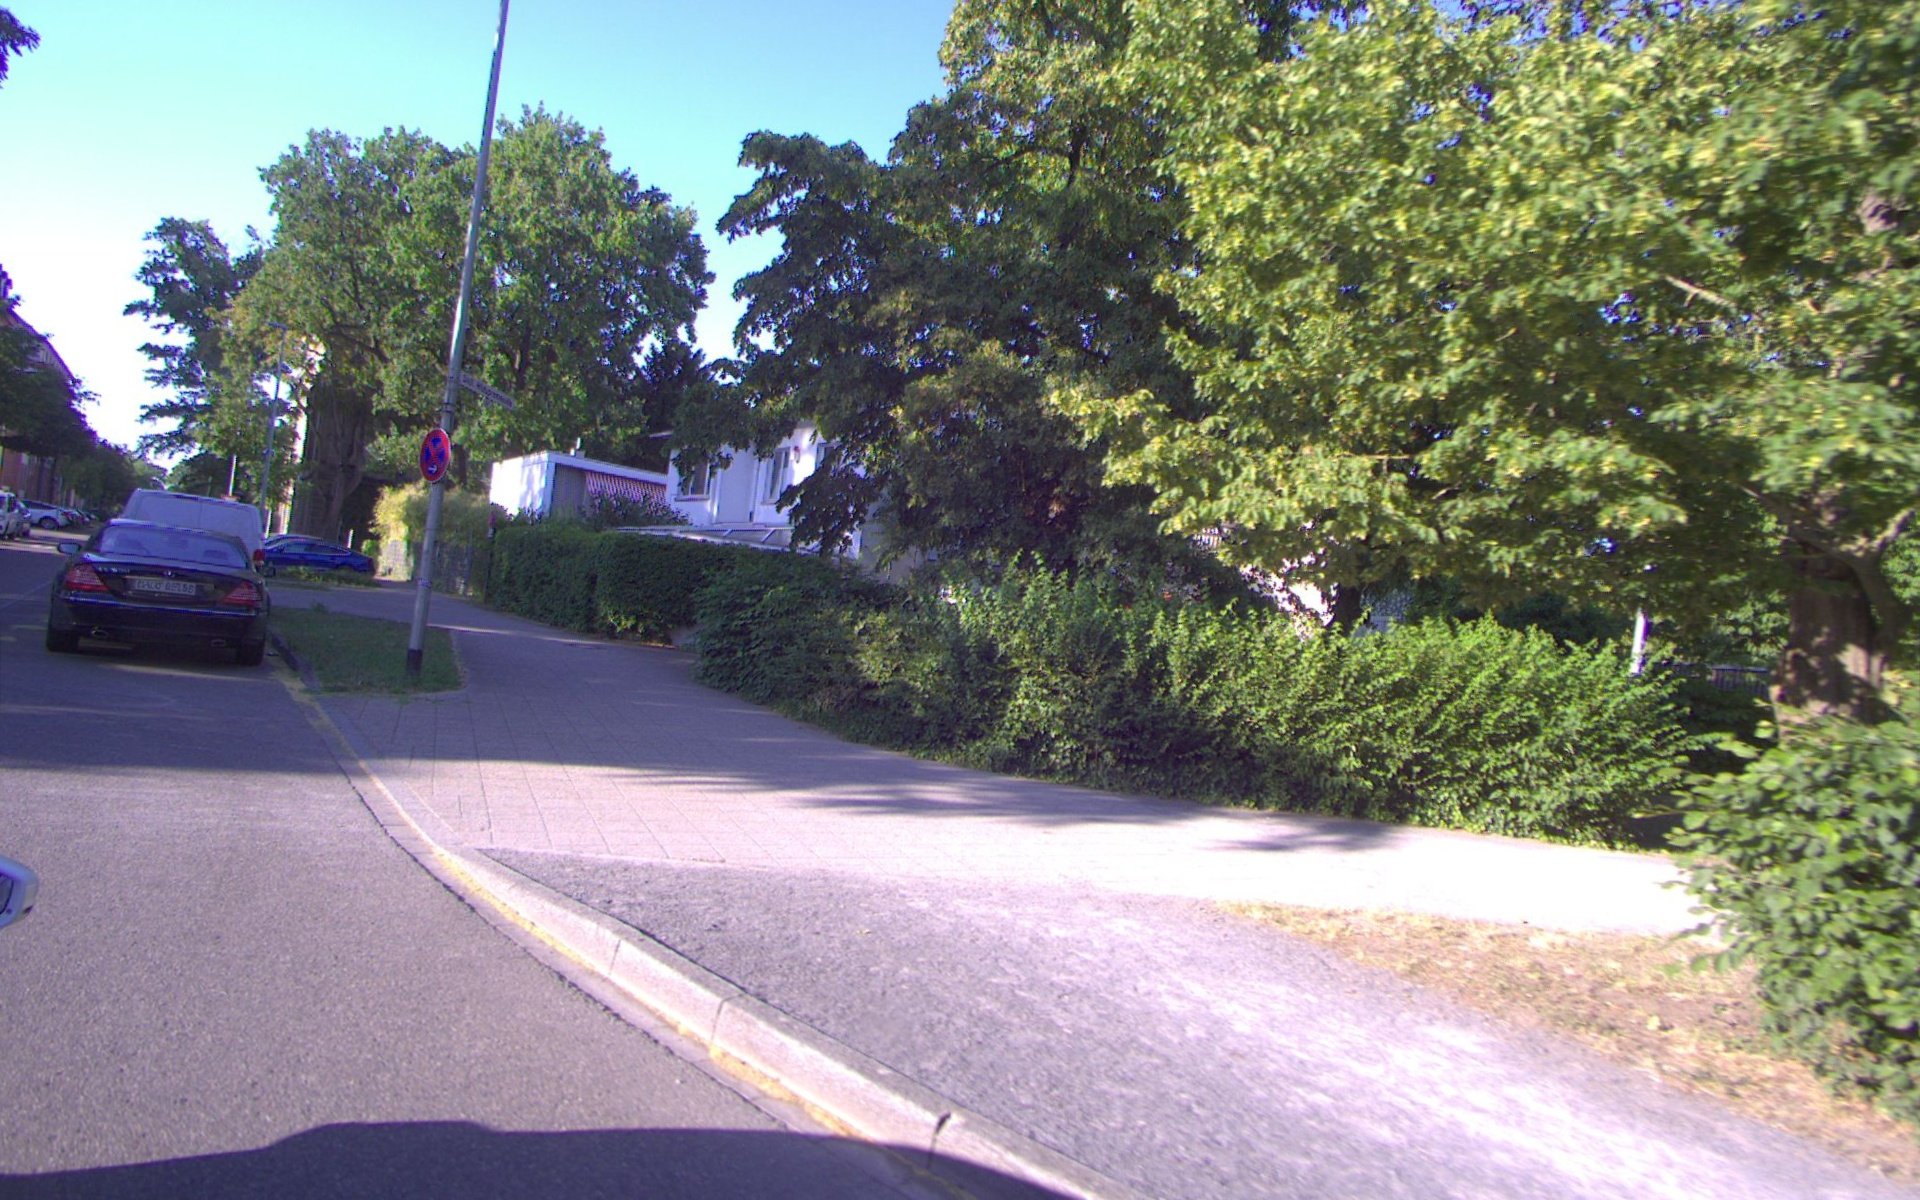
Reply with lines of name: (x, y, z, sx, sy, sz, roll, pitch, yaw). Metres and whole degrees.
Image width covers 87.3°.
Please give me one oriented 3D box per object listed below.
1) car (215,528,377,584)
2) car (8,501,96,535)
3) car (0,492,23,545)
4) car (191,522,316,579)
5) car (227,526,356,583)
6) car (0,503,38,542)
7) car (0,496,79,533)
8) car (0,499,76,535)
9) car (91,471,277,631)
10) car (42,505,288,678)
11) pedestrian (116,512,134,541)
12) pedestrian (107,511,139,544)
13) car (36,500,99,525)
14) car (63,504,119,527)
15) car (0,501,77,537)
car: (-23.220, -1.513, 35.271, 4.563, 1.432, 1.904, 6, -1, -38)
car: (-65.146, -5.859, 72.261, 4.467, 1.627, 1.821, 9, -2, -41)
car: (-36.534, -3.166, 37.534, 1.773, 1.862, 4.504, 8, -1, -39)
car: (-26.917, -1.871, 38.404, 1.738, 1.603, 3.489, 6, -2, 42)
car: (-24.718, -1.652, 37.246, 3.669, 1.542, 1.771, 9, -2, -42)
car: (-41.458, -3.438, 43.523, 1.773, 1.523, 4.506, 8, -2, -38)
car: (-60.606, -5.622, 65.659, 4.466, 1.737, 1.821, 9, -2, -41)
car: (-62.145, -5.603, 67.182, 4.466, 1.737, 1.821, 9, -2, -41)
car: (-12.752, -0.816, 16.493, 1.945, 2.037, 5.097, 8, -1, -39)
car: (-9.214, -0.183, 11.691, 1.758, 1.485, 4.812, 8, -1, -39)
pedestrian: (-60.391, -5.295, 72.776, 0.713, 1.984, 0.781, 7, -1, -33)
pedestrian: (-54.110, -4.669, 65.043, 0.983, 1.880, 1.064, 7, -1, 20)
car: (-86.935, -8.474, 98.064, 4.467, 1.627, 1.821, 9, -2, -41)
car: (-94.743, -9.201, 109.805, 4.467, 1.627, 1.821, 9, -2, -41)
car: (-57.848, -5.107, 62.152, 4.825, 1.613, 1.821, 9, -2, -41)
